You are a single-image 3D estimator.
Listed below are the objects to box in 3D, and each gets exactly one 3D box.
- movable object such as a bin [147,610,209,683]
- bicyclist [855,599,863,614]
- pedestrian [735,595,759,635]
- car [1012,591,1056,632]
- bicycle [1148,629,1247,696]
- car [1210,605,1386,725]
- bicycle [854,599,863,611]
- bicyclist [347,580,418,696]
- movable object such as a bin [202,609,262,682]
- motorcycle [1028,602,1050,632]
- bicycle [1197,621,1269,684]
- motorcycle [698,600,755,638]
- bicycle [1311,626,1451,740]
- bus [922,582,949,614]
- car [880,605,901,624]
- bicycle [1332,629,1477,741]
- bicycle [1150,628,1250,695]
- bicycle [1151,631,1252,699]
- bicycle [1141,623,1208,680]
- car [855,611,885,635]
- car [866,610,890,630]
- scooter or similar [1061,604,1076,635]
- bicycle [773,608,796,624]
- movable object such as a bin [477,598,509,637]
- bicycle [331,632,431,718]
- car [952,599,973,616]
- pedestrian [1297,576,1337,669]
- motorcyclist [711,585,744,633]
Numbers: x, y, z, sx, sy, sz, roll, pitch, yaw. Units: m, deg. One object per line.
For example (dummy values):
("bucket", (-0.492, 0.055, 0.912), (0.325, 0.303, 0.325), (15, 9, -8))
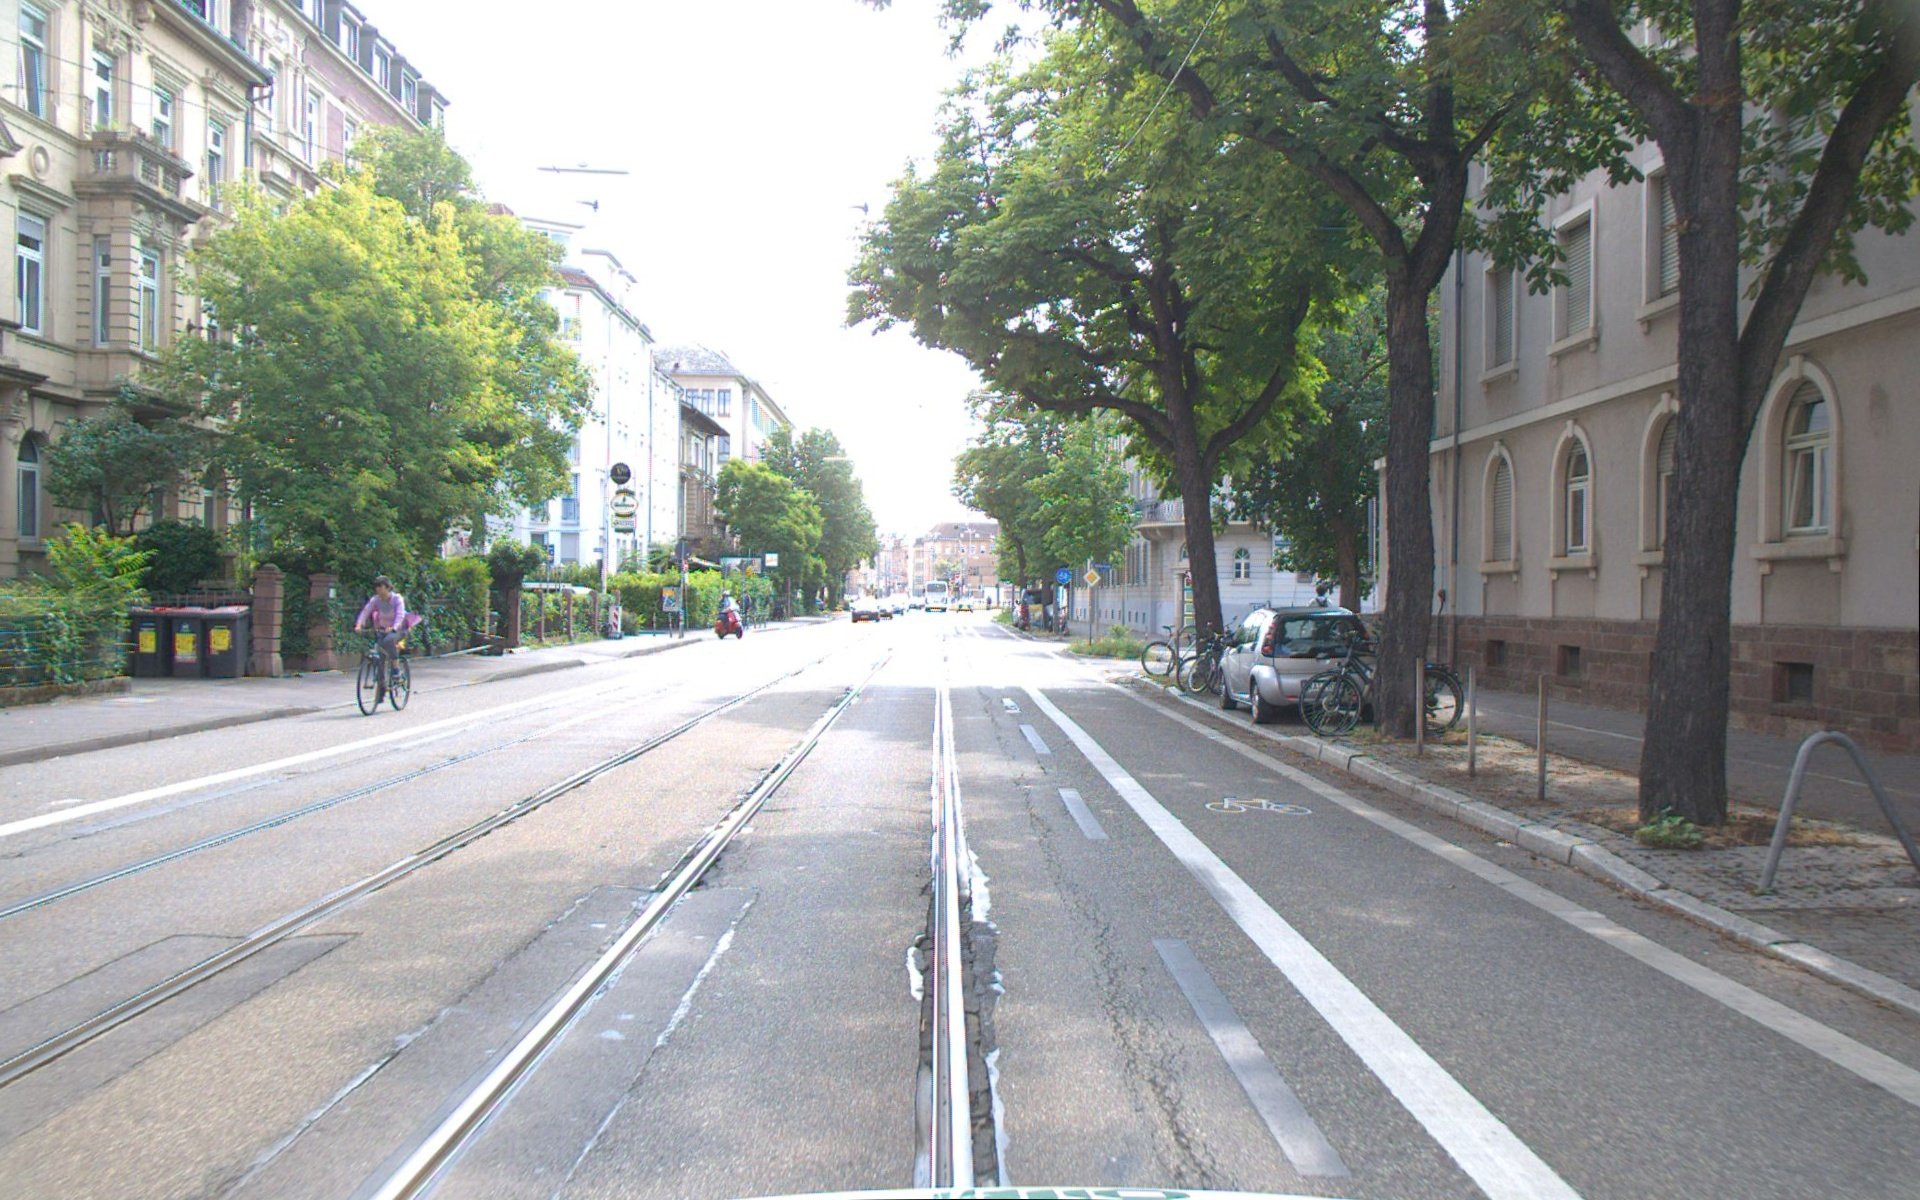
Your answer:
("movable object such as a bin", (-12.336, 0.723, 26.108), (0.654, 1.127, 0.733), (0, 0, -4))
("bicyclist", (-10.264, 0.676, 167.956), (0.587, 1.518, 0.882), (-5, 0, 2))
("pedestrian", (-10.444, 0.722, 81.172), (1.037, 1.951, 0.829), (0, -1, 0))
("car", (3.622, 0.560, 81.421), (1.857, 1.975, 4.949), (0, 0, -1))
("bicycle", (3.993, 1.051, 27.869), (1.612, 1.089, 0.348), (1, 0, 3))
("car", (4.521, 0.821, 22.608), (1.553, 1.470, 3.897), (1, 0, -1))
("bicycle", (-10.280, 0.498, 167.979), (0.590, 1.116, 2.023), (-5, 0, 2))
("bicyclist", (-7.408, 0.484, 21.248), (0.553, 1.450, 0.942), (1, 0, 1))
("movable object such as a bin", (-11.466, 0.712, 26.067), (0.654, 1.127, 0.733), (0, 0, -4))
("motorcycle", (3.580, 0.763, 75.068), (0.839, 1.344, 2.445), (1, 0, 0))
("bicycle", (5.301, 1.011, 32.261), (0.576, 1.178, 1.826), (1, 0, -19))
("motorcycle", (-8.571, 0.682, 60.747), (2.043, 1.384, 0.740), (0, 0, 30))
("bicycle", (4.707, 0.924, 18.554), (1.456, 1.242, 0.518), (0, -1, 6))
("bus", (-2.835, -0.149, 188.616), (2.859, 3.386, 12.202), (1, -1, -1))
("car", (-5.934, 1.263, 142.100), (1.692, 1.567, 4.275), (-1, 0, -2))
("bicycle", (4.812, 0.913, 17.952), (1.456, 1.173, 0.518), (0, 0, 6))
("bicycle", (3.986, 1.017, 27.471), (1.612, 1.089, 0.348), (1, 0, 3))
("bicycle", (3.952, 1.061, 27.105), (1.612, 1.089, 0.348), (1, 0, 2))
("bicycle", (4.182, 0.996, 32.298), (1.242, 1.085, 0.478), (1, 0, -2))
("car", (-5.662, 1.420, 104.376), (1.561, 1.465, 3.936), (-1, 0, 1))
("car", (-5.932, 1.436, 120.021), (1.595, 1.432, 4.128), (1, 0, -1))
("scooter or similar", (4.535, 0.817, 69.010), (0.521, 1.273, 1.720), (0, 0, 0))
("bicycle", (-11.184, 1.030, 105.537), (1.119, 0.924, 2.988), (3, 0, -1))
("movable object such as a bin", (-11.285, 0.416, 39.989), (0.567, 0.941, 0.641), (1, 0, -1))
("bicycle", (-7.413, 0.938, 21.257), (0.557, 1.007, 1.918), (1, 0, 1))
("car", (0.261, 0.851, 179.065), (2.087, 1.713, 4.101), (2, 1, -2))
("pedestrian", (7.327, 0.450, 33.972), (0.605, 1.866, 1.030), (1, 0, 0))
("motorcyclist", (-8.535, 0.314, 60.731), (0.901, 1.744, 0.740), (0, -1, 30))
